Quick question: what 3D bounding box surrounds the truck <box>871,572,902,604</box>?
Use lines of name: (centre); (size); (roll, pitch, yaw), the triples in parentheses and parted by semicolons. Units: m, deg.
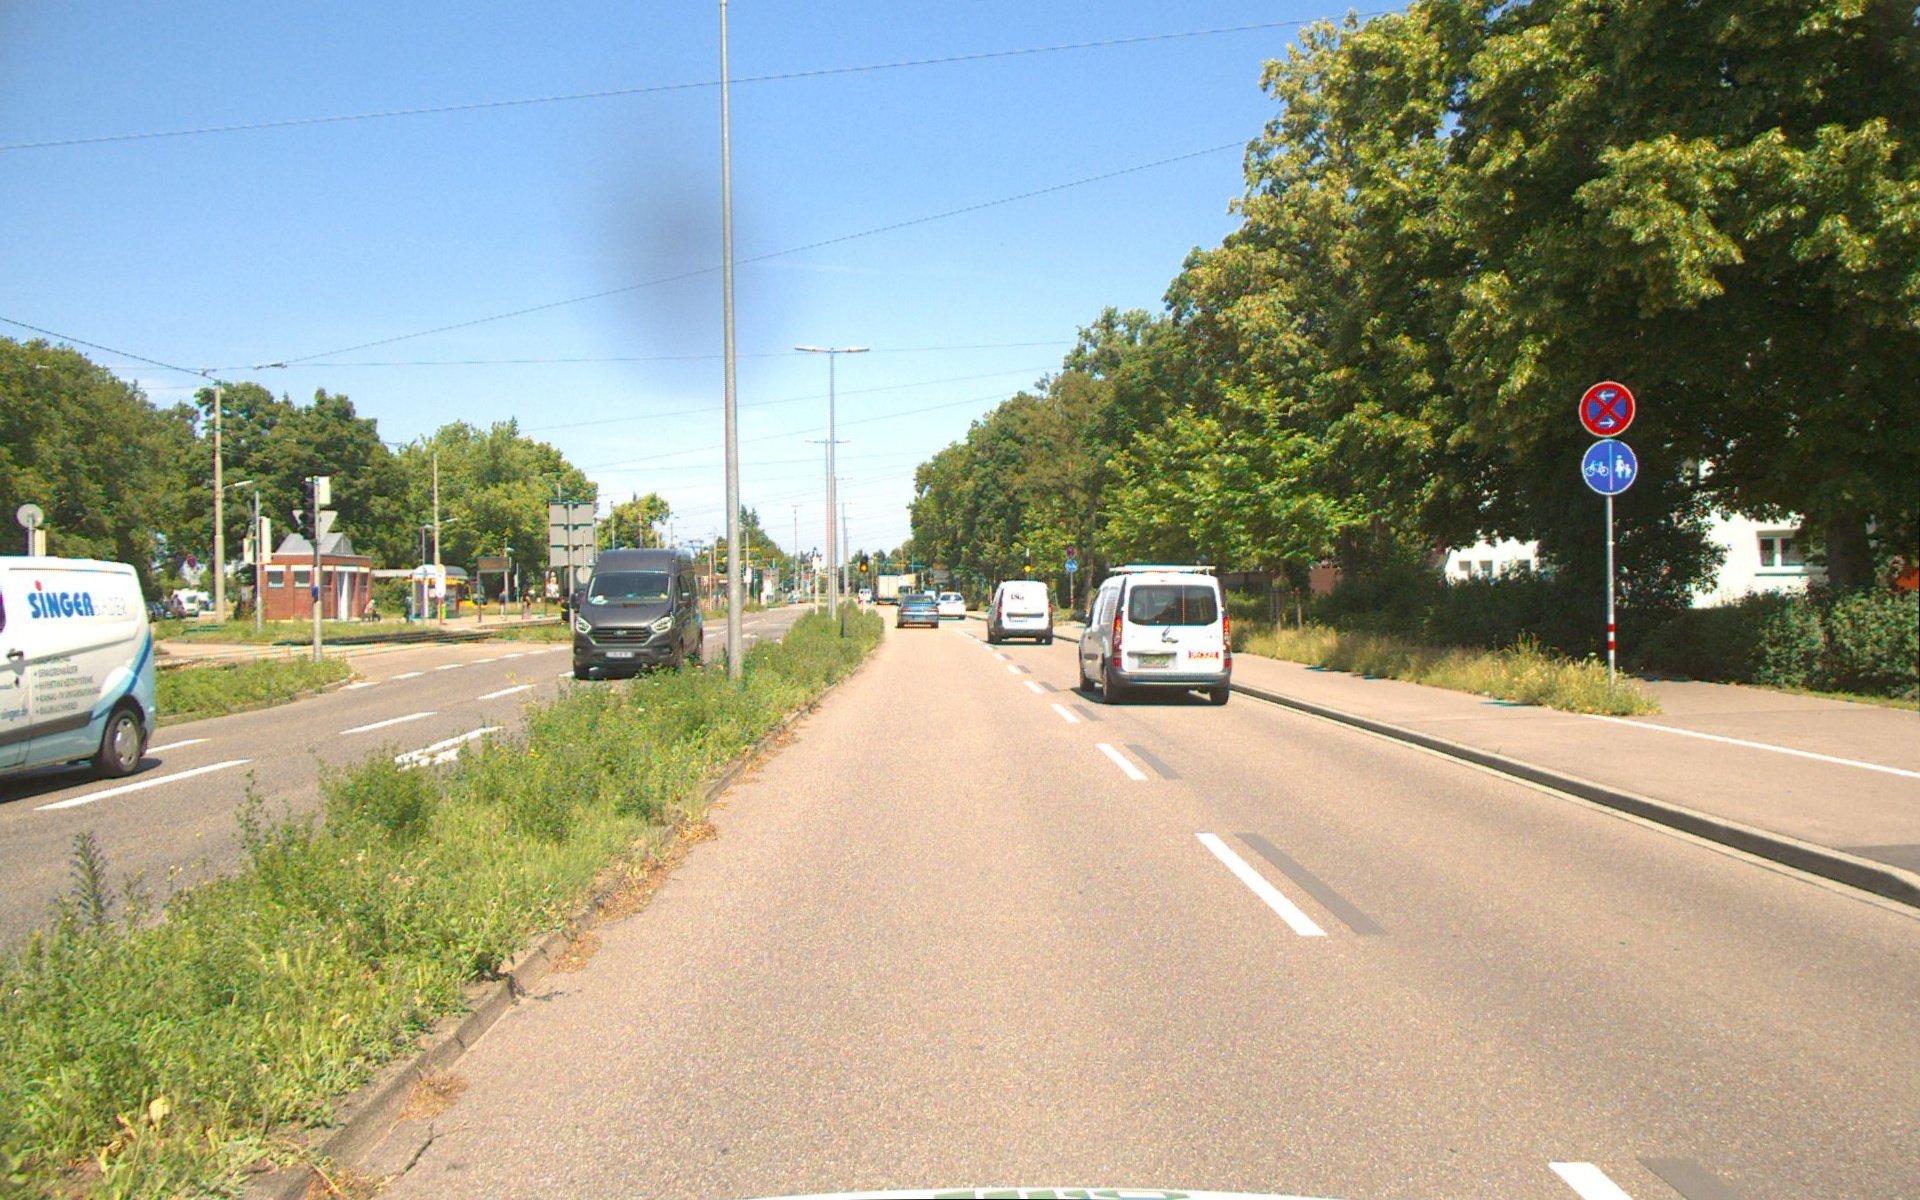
truck: (-9.531, -1.520, 213.366); (3.822, 3.879, 10.784); (-1, 0, -4)

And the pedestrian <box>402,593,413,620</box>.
pedestrian: (-29.677, 0.350, 88.905); (0.452, 1.461, 0.524); (0, 0, -6)

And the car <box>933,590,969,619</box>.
car: (-0.518, 0.247, 94.507); (1.768, 1.567, 3.996); (0, 0, -4)

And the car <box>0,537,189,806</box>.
car: (-8.349, 0.565, 13.406); (1.954, 2.048, 5.028); (-2, 1, -2)

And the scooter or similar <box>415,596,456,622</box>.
scooter or similar: (-23.193, 0.393, 73.101); (0.601, 1.146, 1.665); (0, 0, 40)

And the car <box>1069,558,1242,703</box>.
car: (2.753, 0.404, 24.260); (1.788, 1.914, 4.453); (0, 0, -3)

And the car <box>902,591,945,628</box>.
car: (-1.572, 0.378, 69.841); (1.765, 1.512, 3.998); (0, 0, -2)

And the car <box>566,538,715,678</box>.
car: (-6.019, 0.127, 31.790); (1.954, 2.407, 5.370); (-2, 0, -2)

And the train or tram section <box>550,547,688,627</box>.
train or tram section: (-19.083, -0.640, 96.387); (2.733, 3.732, 37.488); (0, 0, -4)

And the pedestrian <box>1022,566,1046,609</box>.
pedestrian: (3.304, -0.554, 73.907); (1.024, 1.882, 0.758); (0, 0, 7)

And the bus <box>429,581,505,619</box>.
bus: (-47.628, -0.019, 159.768); (7.378, 3.629, 2.000); (0, 0, 21)

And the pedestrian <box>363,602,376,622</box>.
pedestrian: (-30.353, 0.601, 84.973); (0.472, 1.036, 0.522); (-1, 0, -2)

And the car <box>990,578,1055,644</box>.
car: (1.797, 0.292, 48.728); (1.693, 1.845, 3.999); (1, 1, -1)

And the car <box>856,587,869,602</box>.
car: (-13.495, -0.769, 229.163); (1.654, 1.930, 3.867); (-1, 0, -4)
